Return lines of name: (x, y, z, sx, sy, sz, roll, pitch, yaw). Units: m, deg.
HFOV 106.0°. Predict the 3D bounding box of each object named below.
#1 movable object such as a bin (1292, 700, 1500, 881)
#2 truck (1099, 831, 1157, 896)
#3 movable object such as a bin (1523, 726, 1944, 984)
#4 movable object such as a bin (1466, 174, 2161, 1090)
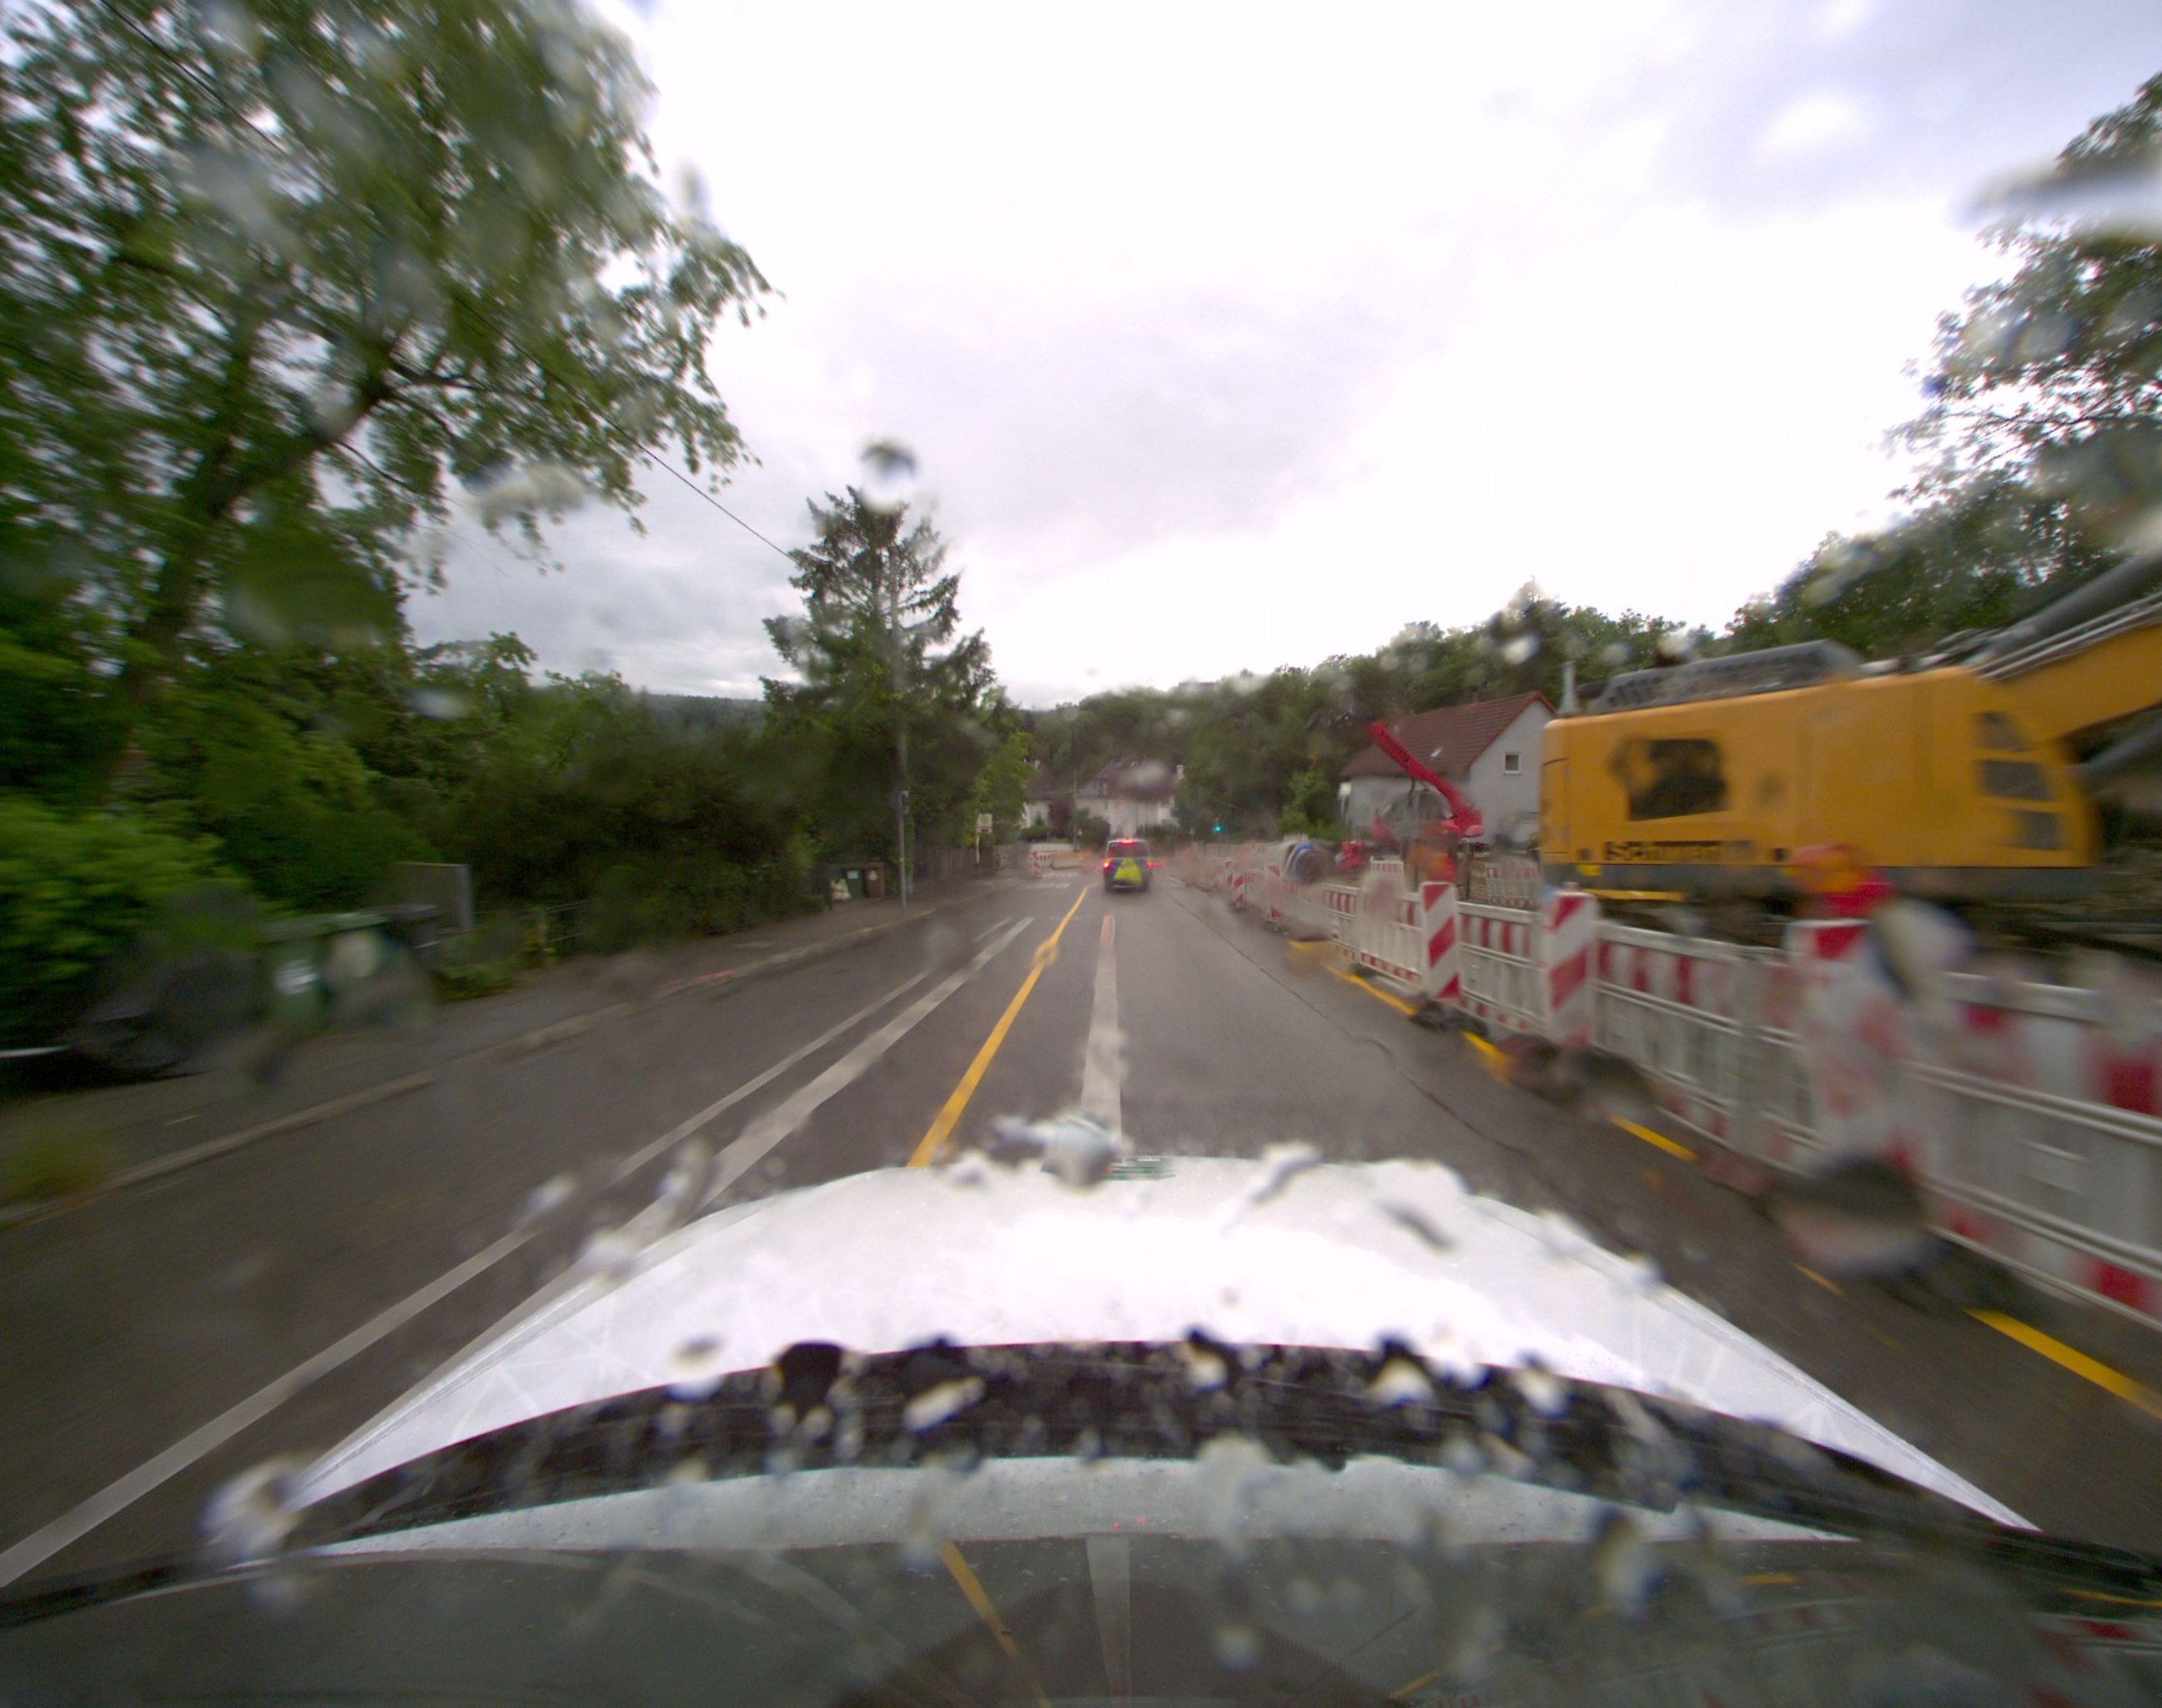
movable object such as a bin: (12.222, -2.396, 32.036, 6.932, 6.689, 3.043, -1, 0, -3)
truck: (1.820, 0.285, 31.527, 1.985, 2.012, 4.741, -2, 5, 3)
movable object such as a bin: (8.959, -0.104, 11.524, 3.984, 3.202, 2.402, 0, 6, -8)
movable object such as a bin: (7.919, -1.251, 3.986, 3.079, 4.919, 10.703, 0, -3, -34)
